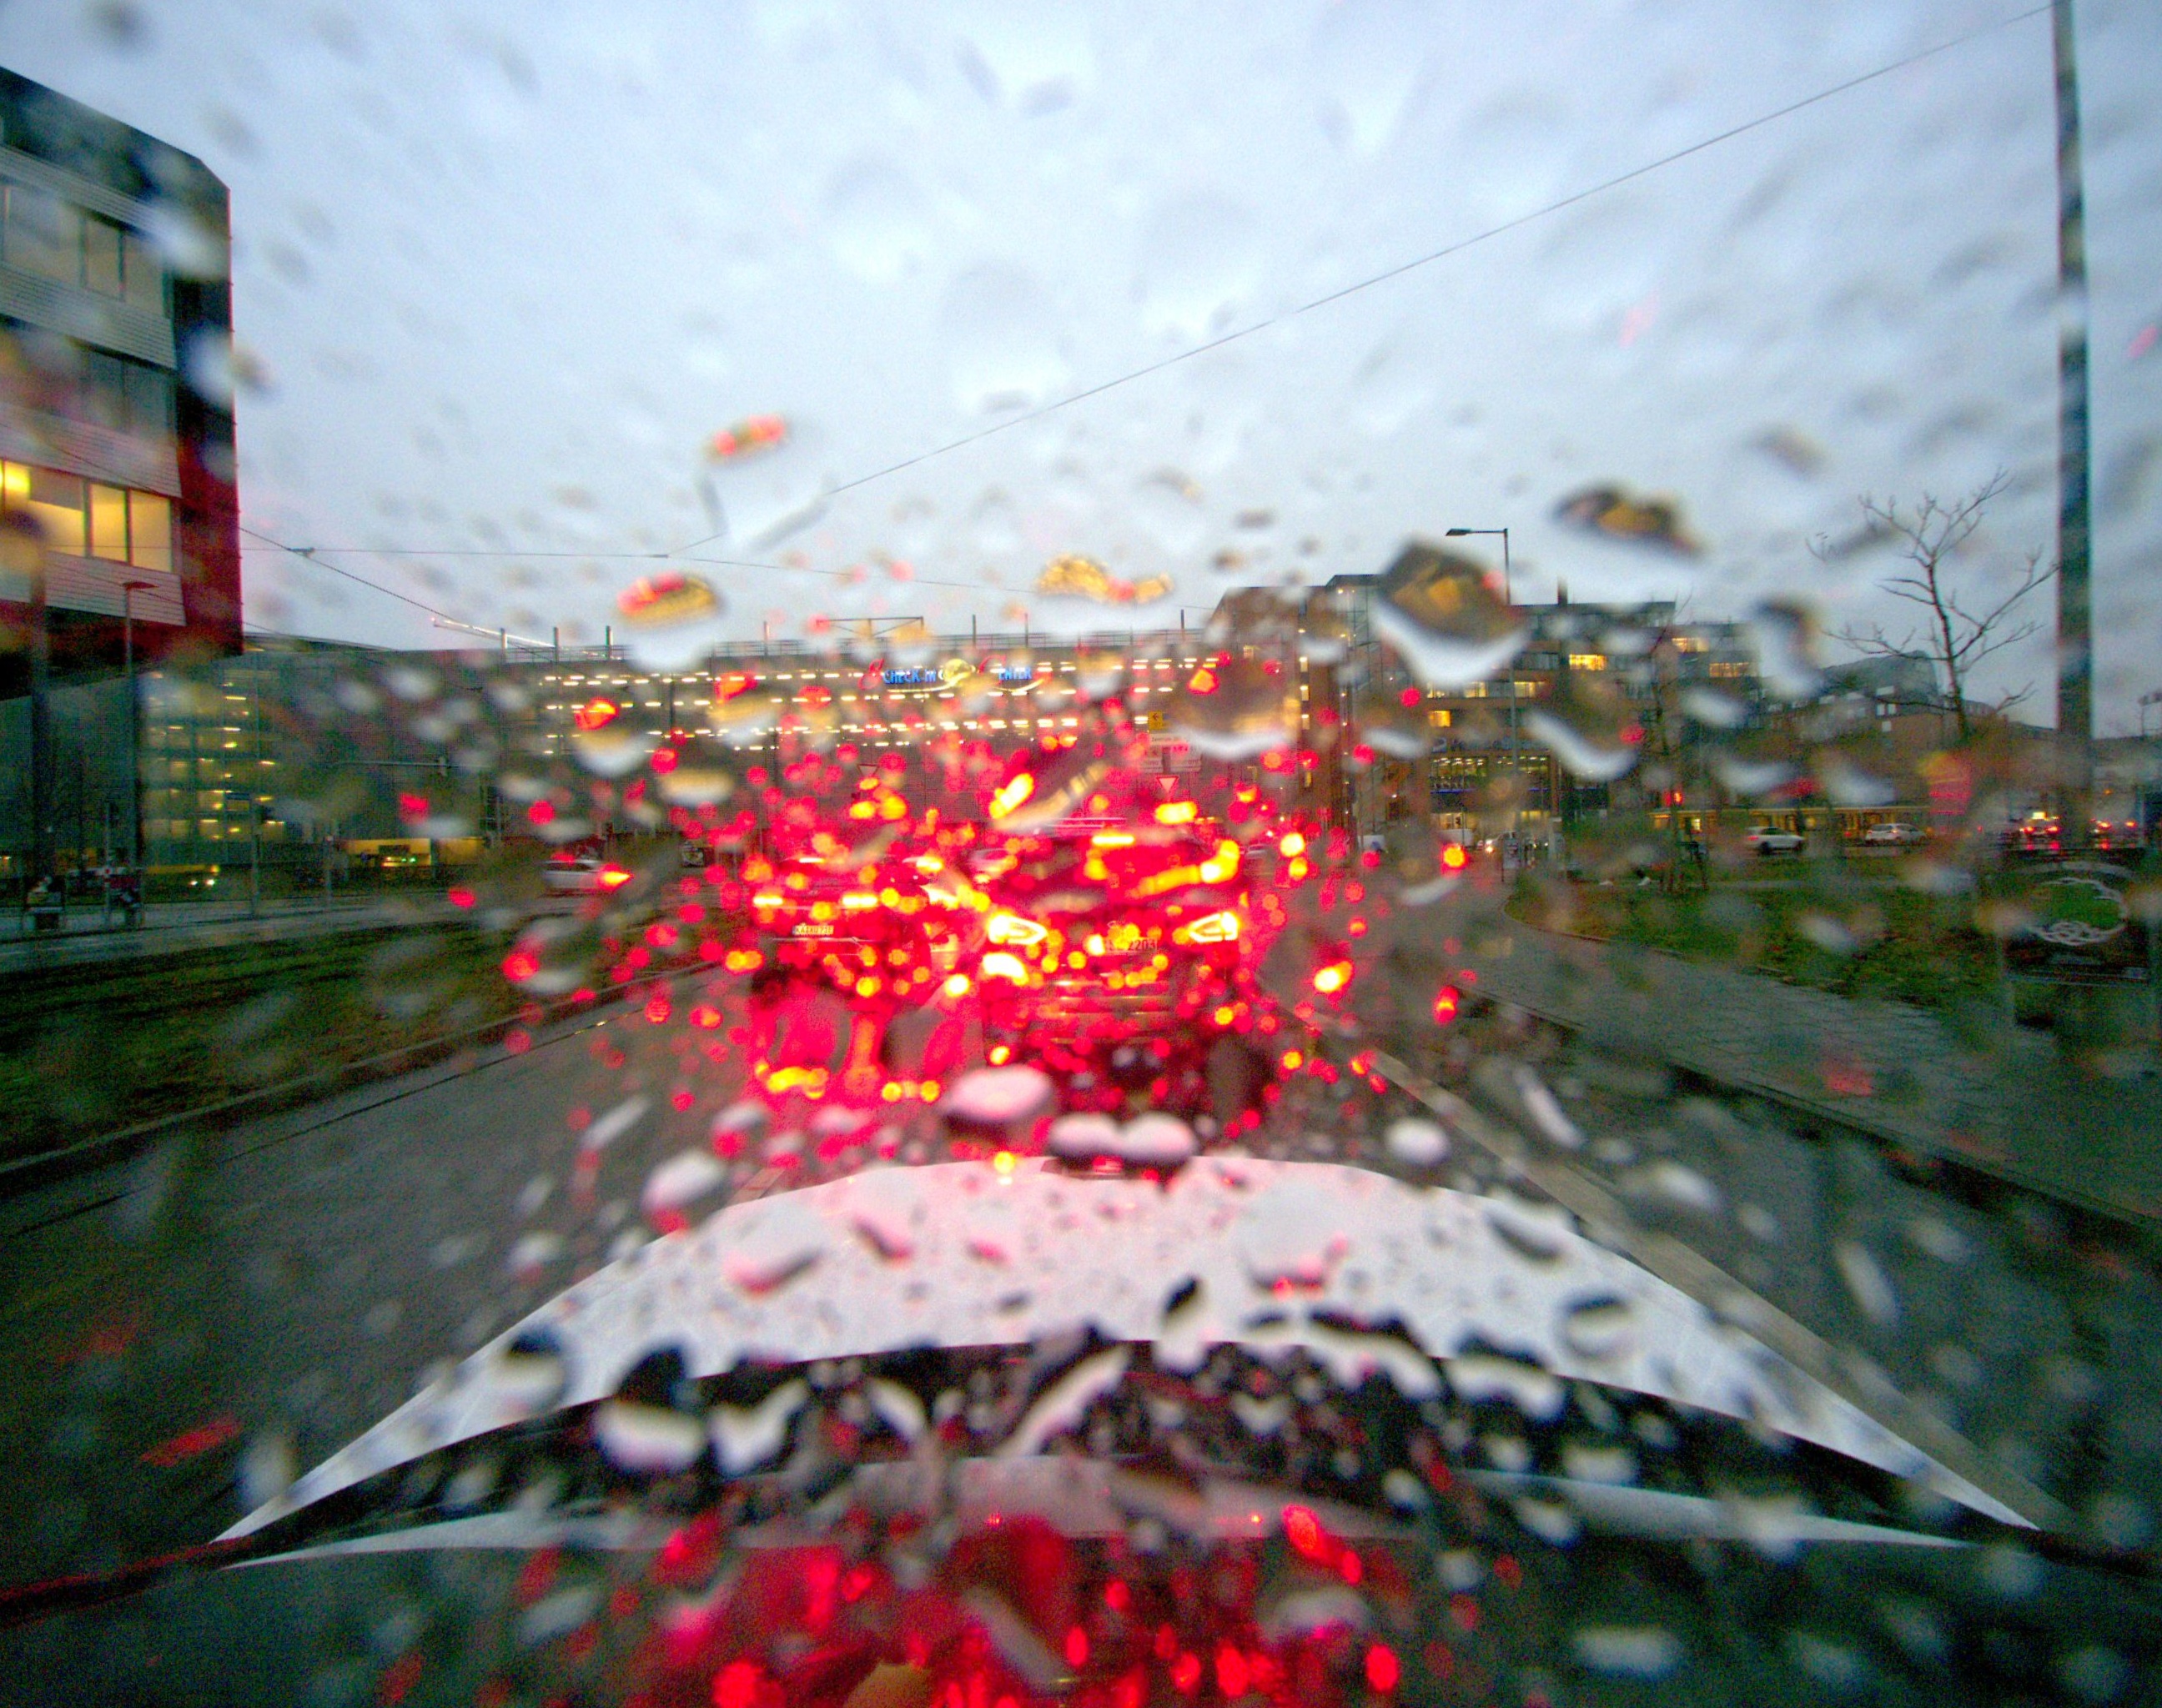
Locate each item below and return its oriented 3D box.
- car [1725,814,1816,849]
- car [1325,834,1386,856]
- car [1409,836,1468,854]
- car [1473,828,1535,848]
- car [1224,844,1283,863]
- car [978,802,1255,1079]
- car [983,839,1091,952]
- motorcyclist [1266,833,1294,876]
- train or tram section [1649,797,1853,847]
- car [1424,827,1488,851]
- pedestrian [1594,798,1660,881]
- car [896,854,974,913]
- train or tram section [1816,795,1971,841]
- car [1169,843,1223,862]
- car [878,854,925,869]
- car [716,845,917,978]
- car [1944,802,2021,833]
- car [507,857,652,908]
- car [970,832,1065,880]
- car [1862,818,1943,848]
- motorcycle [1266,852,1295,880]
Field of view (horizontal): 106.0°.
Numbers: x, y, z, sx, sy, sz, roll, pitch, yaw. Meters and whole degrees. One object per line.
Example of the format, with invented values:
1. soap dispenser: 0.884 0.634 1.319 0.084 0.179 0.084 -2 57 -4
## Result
1. car: 40.880 -1.316 48.321 4.362 2.013 1.990 0 0 -15
2. car: 22.602 -0.731 67.108 4.413 1.595 1.796 -2 0 -6
3. car: 29.948 -0.748 68.277 4.209 1.390 1.796 -2 0 -6
4. car: 35.961 -1.329 69.331 4.425 1.534 1.796 -2 0 -6
5. car: 14.089 -0.036 66.688 4.413 1.390 1.796 -2 0 -6
6. car: 0.212 0.537 7.254 1.730 1.738 4.245 1 0 -1
7. car: -0.753 0.638 14.313 1.632 1.697 3.667 -1 0 -3
8. motorcyclist: 7.344 0.001 30.131 0.863 1.534 1.110 -2 0 7
9. train or tram section: 50.504 -2.408 61.253 16.627 3.260 2.326 -2 0 -14
10. car: 33.228 -1.333 72.194 4.831 2.000 1.796 -2 0 -6
11. pedestrian: 13.105 -0.345 19.590 1.159 1.924 0.904 1 0 24
12. car: -3.510 0.655 20.120 1.538 1.251 4.059 -1 0 -6
13. train or tram section: 64.653 -2.888 64.763 12.975 3.260 2.326 -2 0 -14
14. car: 9.784 -0.128 69.224 4.209 1.390 1.796 -2 0 -6
15. car: -15.644 0.606 70.985 3.751 1.165 1.678 -2 0 -4
16. car: -3.657 0.705 12.040 1.748 1.574 3.996 -2 0 -2
17. car: 64.144 -2.557 57.972 4.949 2.013 1.987 0 0 -20
18. car: -20.486 1.140 33.453 4.666 1.850 1.826 -2 -1 -9
19. car: -2.845 0.069 36.097 3.987 1.874 1.994 -3 1 -10
20. car: 56.429 -1.412 55.996 3.985 2.013 1.994 0 0 -9
21. motorcycle: 7.360 0.446 30.160 0.848 0.971 1.585 -2 0 7
